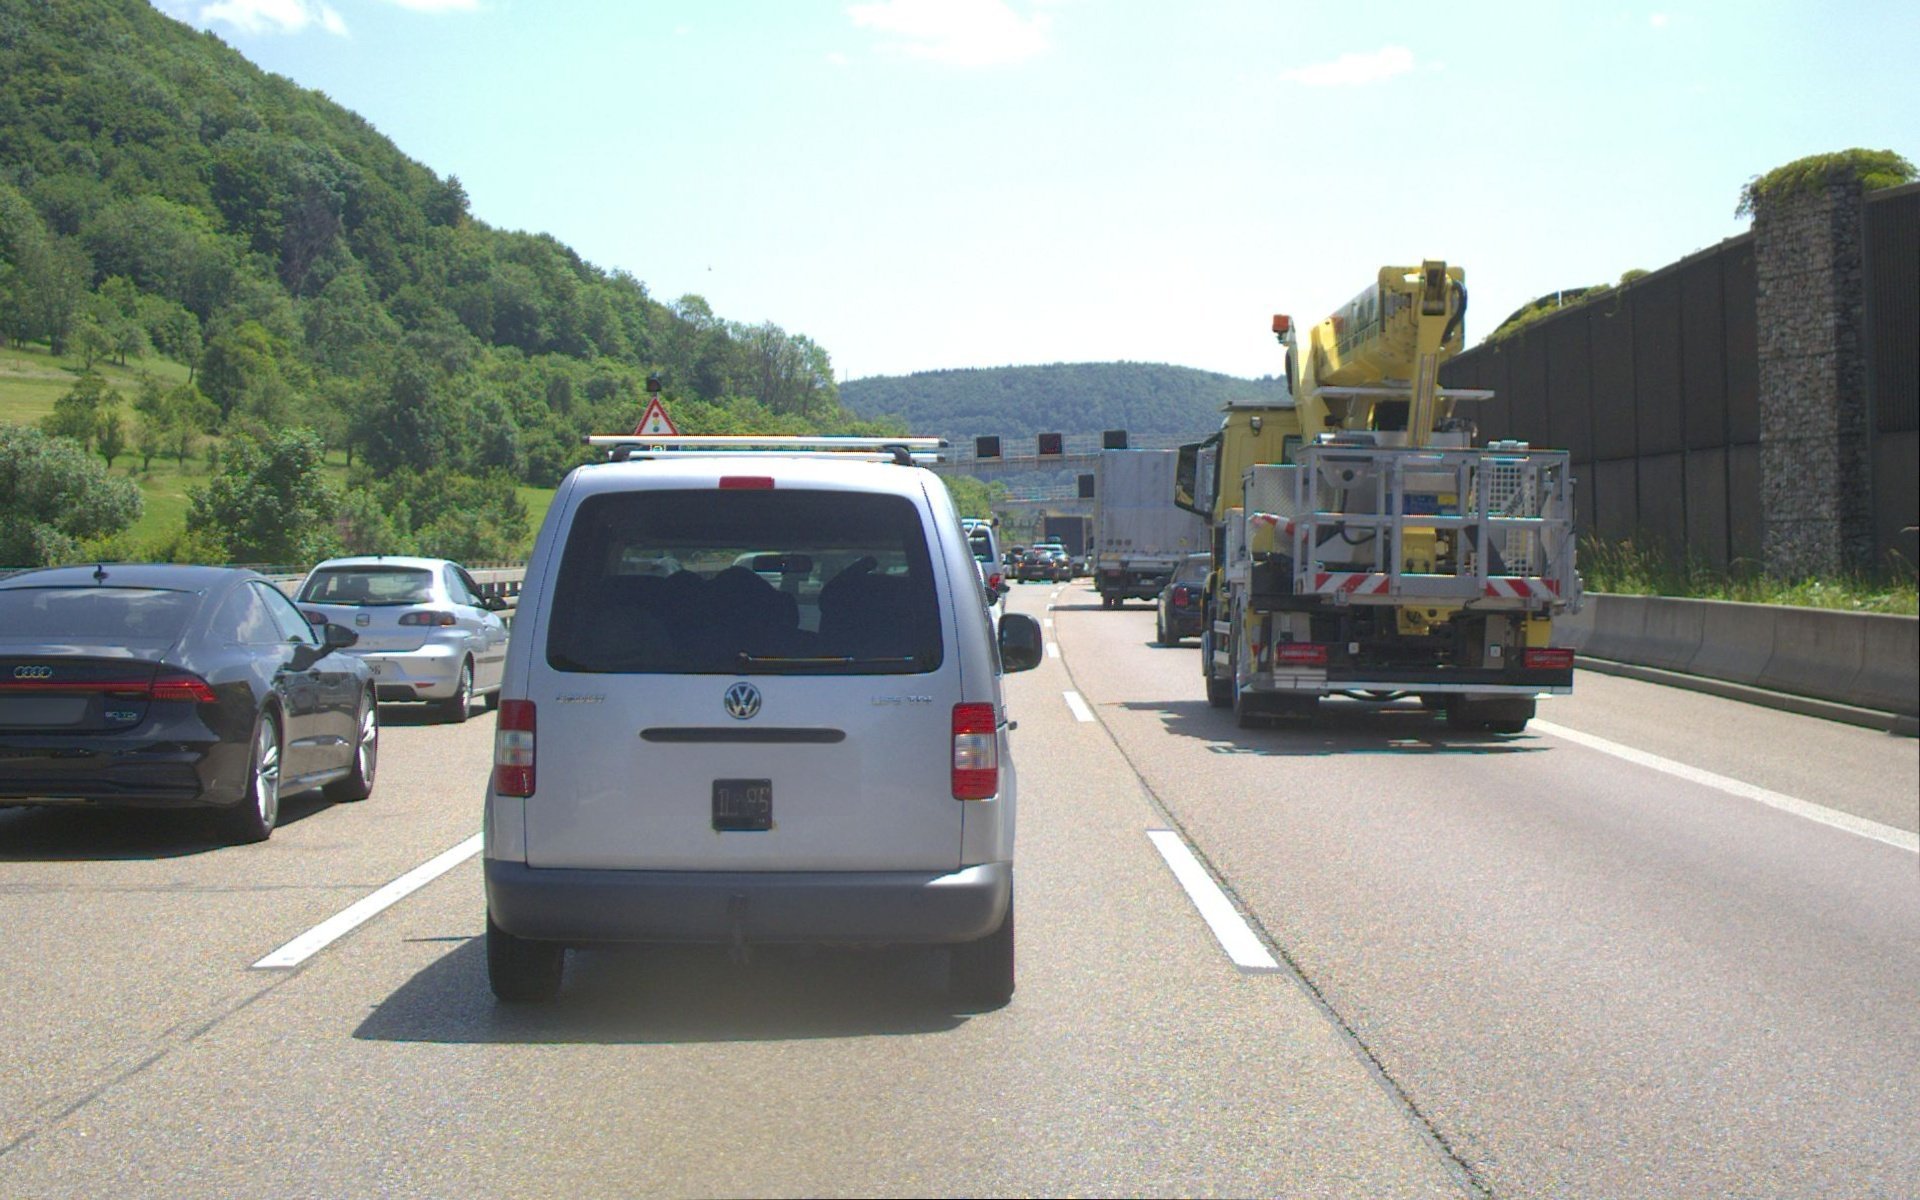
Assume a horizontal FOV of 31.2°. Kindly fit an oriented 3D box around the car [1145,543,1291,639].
[{"bbox_3d":[4.006,-0.168,53.950,1.786,1.453,3.771,0,1,-4],"label":"car"}]

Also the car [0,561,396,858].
[{"bbox_3d":[-4.391,0.493,18.766,1.800,1.385,4.969,0,1,0],"label":"car"}]

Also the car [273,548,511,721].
[{"bbox_3d":[-5.012,0.262,30.750,1.695,1.440,3.862,0,1,-3],"label":"car"}]

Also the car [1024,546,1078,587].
[{"bbox_3d":[4.135,-1.515,157.013,2.114,1.821,4.001,1,0,-4],"label":"car"}]

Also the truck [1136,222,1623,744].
[{"bbox_3d":[3.401,-0.952,30.323,2.703,3.929,8.723,0,1,-4],"label":"truck"}]

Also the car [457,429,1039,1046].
[{"bbox_3d":[-0.763,0.383,12.424,1.756,1.861,4.001,0,1,-4],"label":"car"}]

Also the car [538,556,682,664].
[{"bbox_3d":[-5.060,0.114,50.136,1.924,1.494,4.001,1,1,-4],"label":"car"}]

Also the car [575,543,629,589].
[{"bbox_3d":[-15.779,-1.508,151.600,1.993,2.007,4.000,0,1,-1],"label":"car"}]

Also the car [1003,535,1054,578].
[{"bbox_3d":[2.862,-1.816,144.352,1.993,1.743,4.000,1,0,-1],"label":"car"}]

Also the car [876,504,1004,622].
[{"bbox_3d":[-0.389,-0.644,59.592,1.993,1.969,4.001,0,1,-4],"label":"car"}]

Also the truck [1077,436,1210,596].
[{"bbox_3d":[4.554,-2.035,86.811,2.940,3.810,8.236,1,0,0],"label":"truck"}]

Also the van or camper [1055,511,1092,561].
[{"bbox_3d":[6.879,-3.889,208.858,1.993,2.943,5.423,1,0,-1],"label":"van or camper"}]
